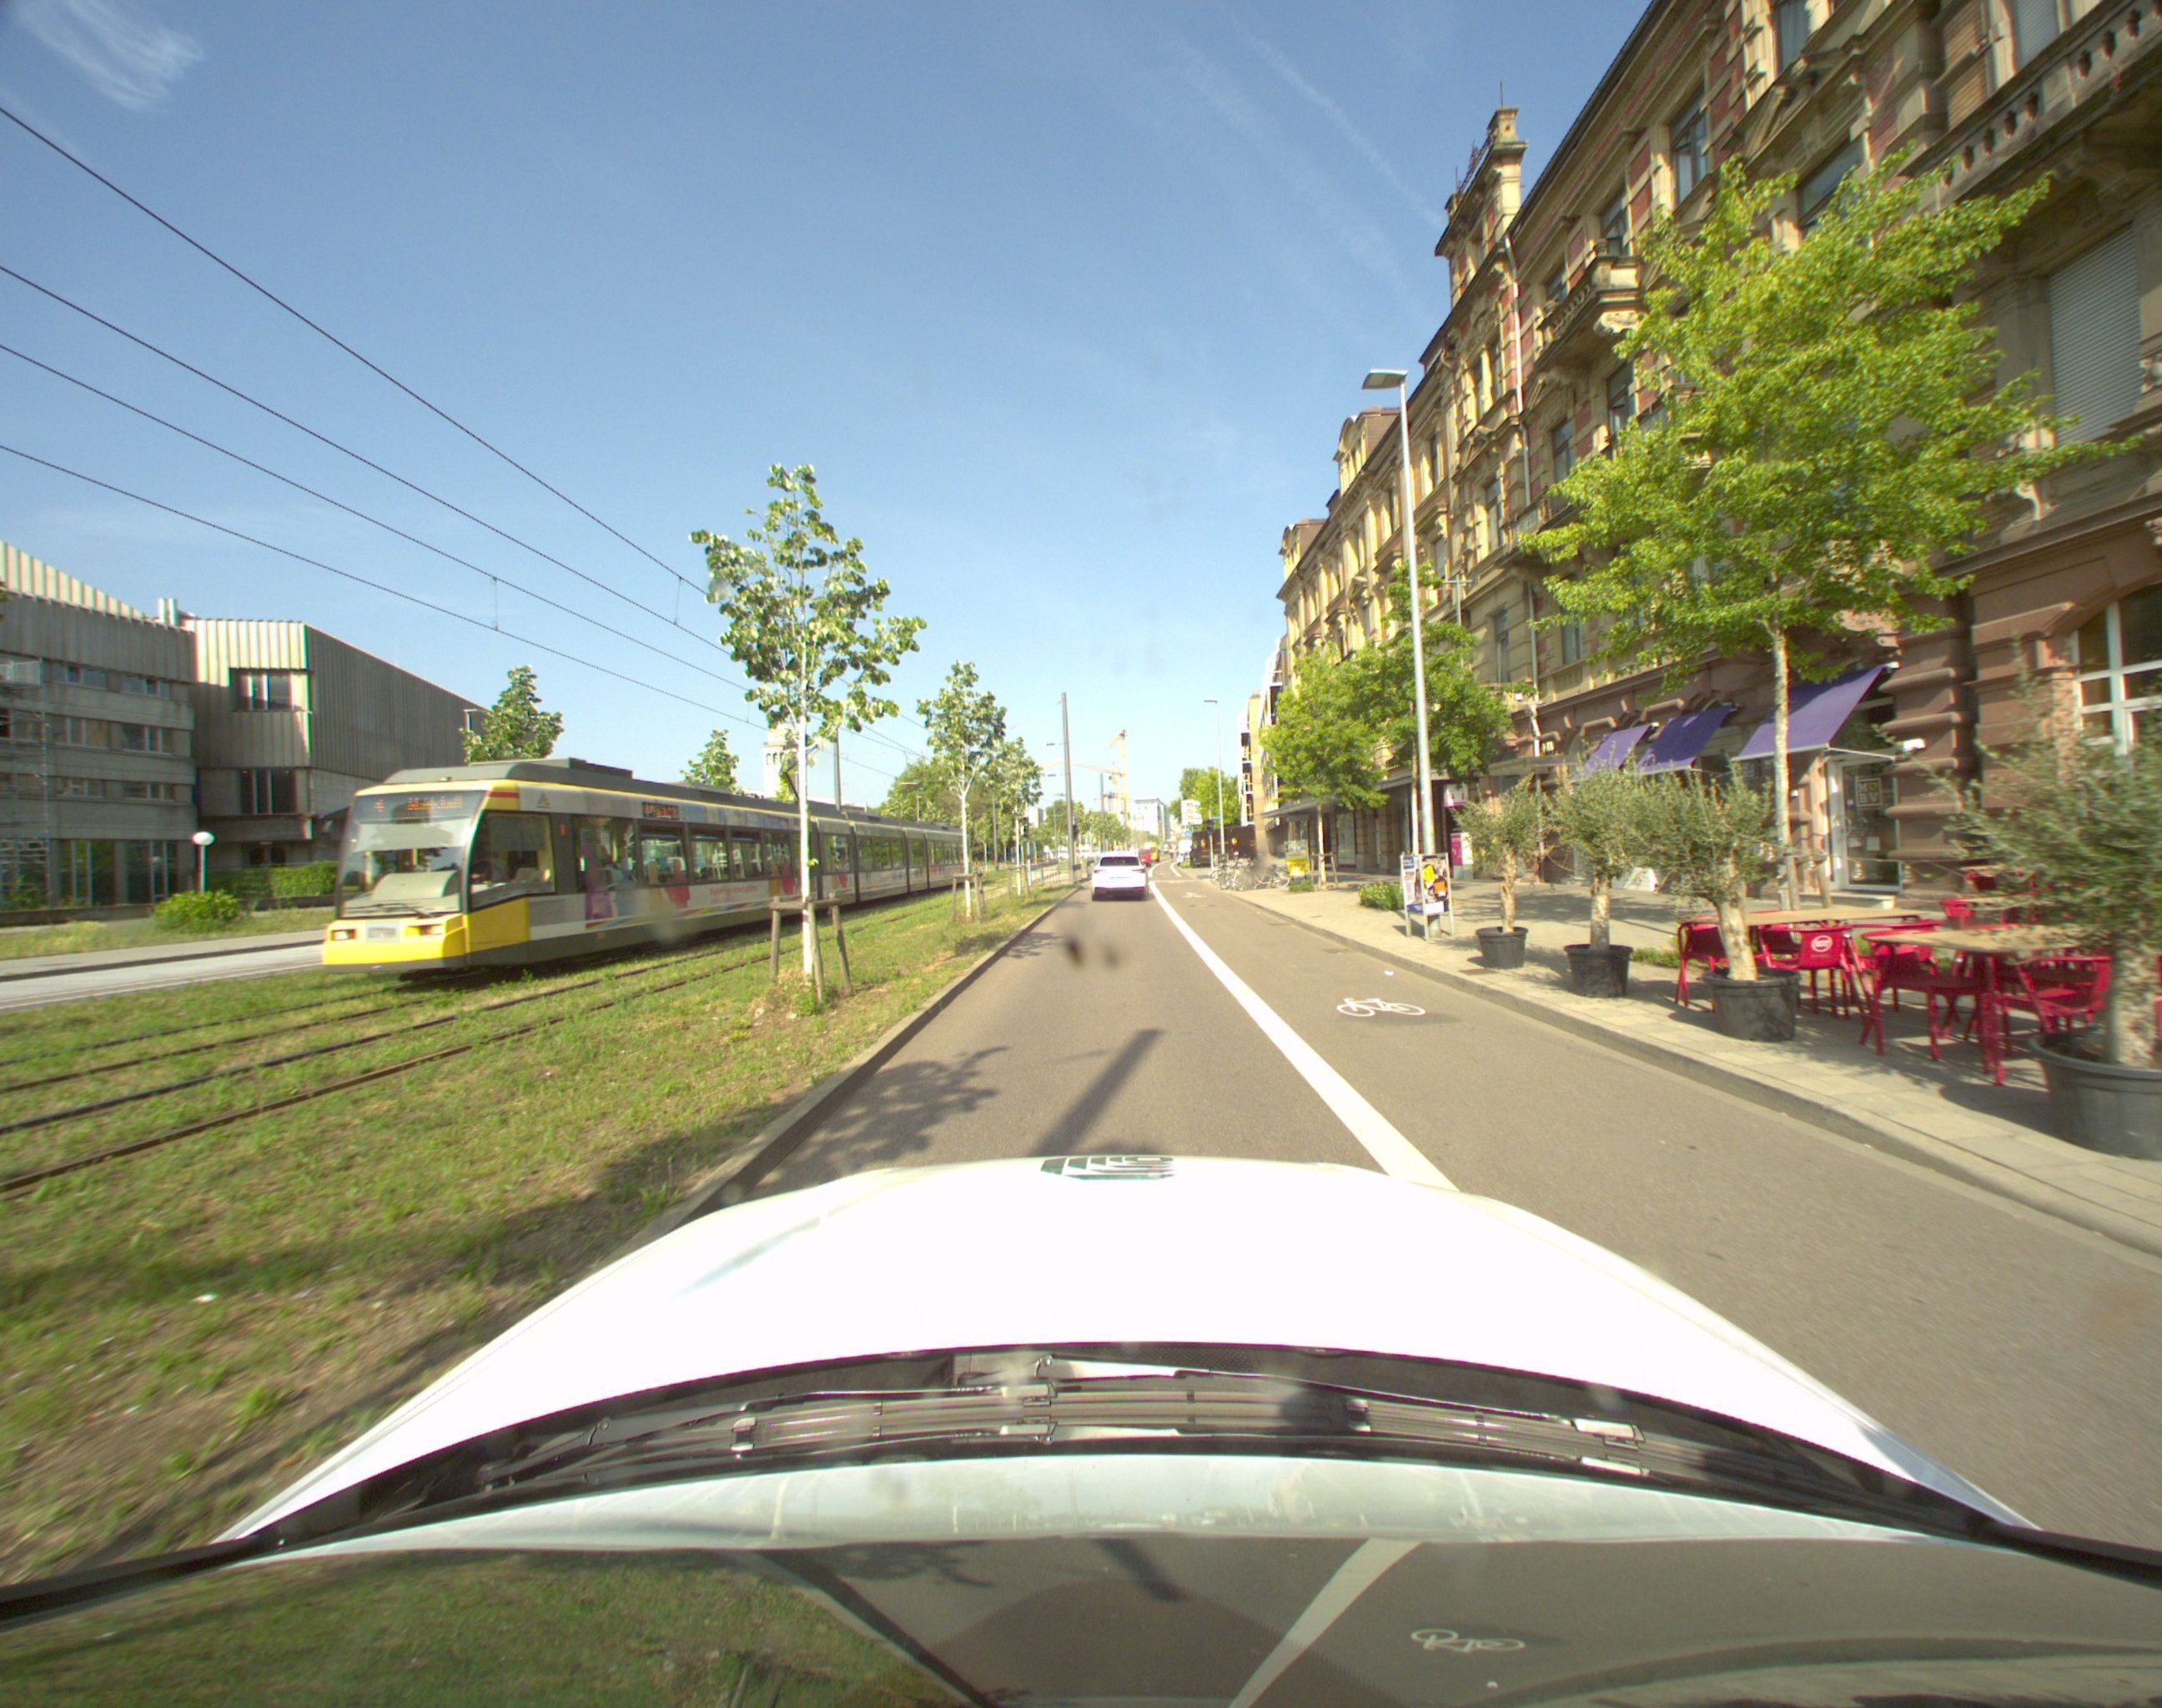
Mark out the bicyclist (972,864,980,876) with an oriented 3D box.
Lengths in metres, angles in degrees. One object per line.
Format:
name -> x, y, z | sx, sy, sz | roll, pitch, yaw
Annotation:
bicyclist -> -13.590, 2.110, 105.146 | 0.693, 1.516, 1.187 | -2, 0, 4

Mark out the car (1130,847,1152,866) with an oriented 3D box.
car -> 5.973, 0.219, 80.491 | 1.983, 1.684, 4.377 | -2, 0, 6

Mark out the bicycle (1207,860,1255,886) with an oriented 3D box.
bicycle -> 6.355, 0.788, 34.608 | 1.925, 0.945, 0.441 | -4, 0, 5

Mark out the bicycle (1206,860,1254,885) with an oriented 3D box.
bicycle -> 6.401, 0.793, 35.086 | 1.925, 0.945, 0.441 | -4, 0, 5

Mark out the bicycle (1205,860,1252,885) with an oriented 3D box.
bicycle -> 6.499, 0.801, 35.911 | 1.925, 0.945, 0.429 | -4, 0, 5

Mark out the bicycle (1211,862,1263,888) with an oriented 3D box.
bicycle -> 6.221, 0.820, 32.510 | 1.927, 0.874, 0.441 | -4, 0, 2

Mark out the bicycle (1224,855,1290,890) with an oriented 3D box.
bicycle -> 6.470, 0.691, 29.953 | 2.230, 1.104, 0.519 | -4, 0, 2

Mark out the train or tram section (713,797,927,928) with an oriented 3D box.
train or tram section -> -8.708, 0.291, 29.777 | 2.886, 3.586, 12.943 | -3, -1, 3

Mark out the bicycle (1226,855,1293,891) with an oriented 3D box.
bicycle -> 6.429, 0.686, 29.398 | 2.230, 1.104, 0.589 | -4, 0, 2

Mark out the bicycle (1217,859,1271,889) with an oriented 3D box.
bicycle -> 6.257, 0.763, 31.307 | 1.947, 0.986, 0.471 | -4, 0, 2

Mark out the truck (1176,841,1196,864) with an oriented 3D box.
truck -> 12.353, -0.181, 96.315 | 1.985, 2.508, 4.004 | -2, 0, 3

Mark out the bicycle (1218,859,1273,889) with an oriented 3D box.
bicycle -> 6.217, 0.758, 30.828 | 1.927, 0.986, 0.471 | -4, 0, 2

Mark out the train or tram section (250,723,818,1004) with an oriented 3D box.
train or tram section -> -9.317, 0.176, 17.073 | 2.887, 3.586, 12.484 | -3, -1, 2

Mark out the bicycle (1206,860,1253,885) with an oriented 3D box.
bicycle -> 6.441, 0.797, 35.469 | 1.925, 0.945, 0.429 | -4, 0, 5

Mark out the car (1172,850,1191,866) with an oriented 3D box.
car -> 9.665, 0.379, 78.324 | 1.640, 1.499, 3.535 | -2, 0, 8

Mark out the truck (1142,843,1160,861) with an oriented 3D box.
truck -> 9.667, -0.338, 112.468 | 2.203, 2.318, 5.895 | -2, 0, 3

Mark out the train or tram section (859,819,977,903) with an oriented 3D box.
train or tram section -> -8.051, 0.345, 42.354 | 2.886, 3.586, 12.235 | -3, -1, 3

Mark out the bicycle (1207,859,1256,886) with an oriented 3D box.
bicycle -> 6.313, 0.776, 34.162 | 1.925, 1.013, 0.441 | -4, 0, 5

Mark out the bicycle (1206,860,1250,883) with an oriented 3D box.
bicycle -> 6.679, 0.794, 37.048 | 1.877, 0.863, 0.429 | -4, 0, 5

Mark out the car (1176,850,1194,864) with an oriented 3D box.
car -> 10.592, 0.298, 82.625 | 1.640, 1.385, 3.535 | -2, 0, 8

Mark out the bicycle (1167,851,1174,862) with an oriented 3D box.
bicycle -> 12.947, 0.321, 117.588 | 0.778, 1.496, 2.802 | -2, 0, 3

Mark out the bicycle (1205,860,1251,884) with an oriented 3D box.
bicycle -> 6.556, 0.805, 36.374 | 1.925, 0.945, 0.429 | -4, 0, 5

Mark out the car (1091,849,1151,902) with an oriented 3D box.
car -> 1.286, 0.670, 27.493 | 1.811, 1.590, 4.408 | -2, 0, 1

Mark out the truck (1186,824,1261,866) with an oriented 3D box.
truck -> 11.026, -0.631, 63.706 | 2.519, 3.011, 6.912 | -2, 0, -20
